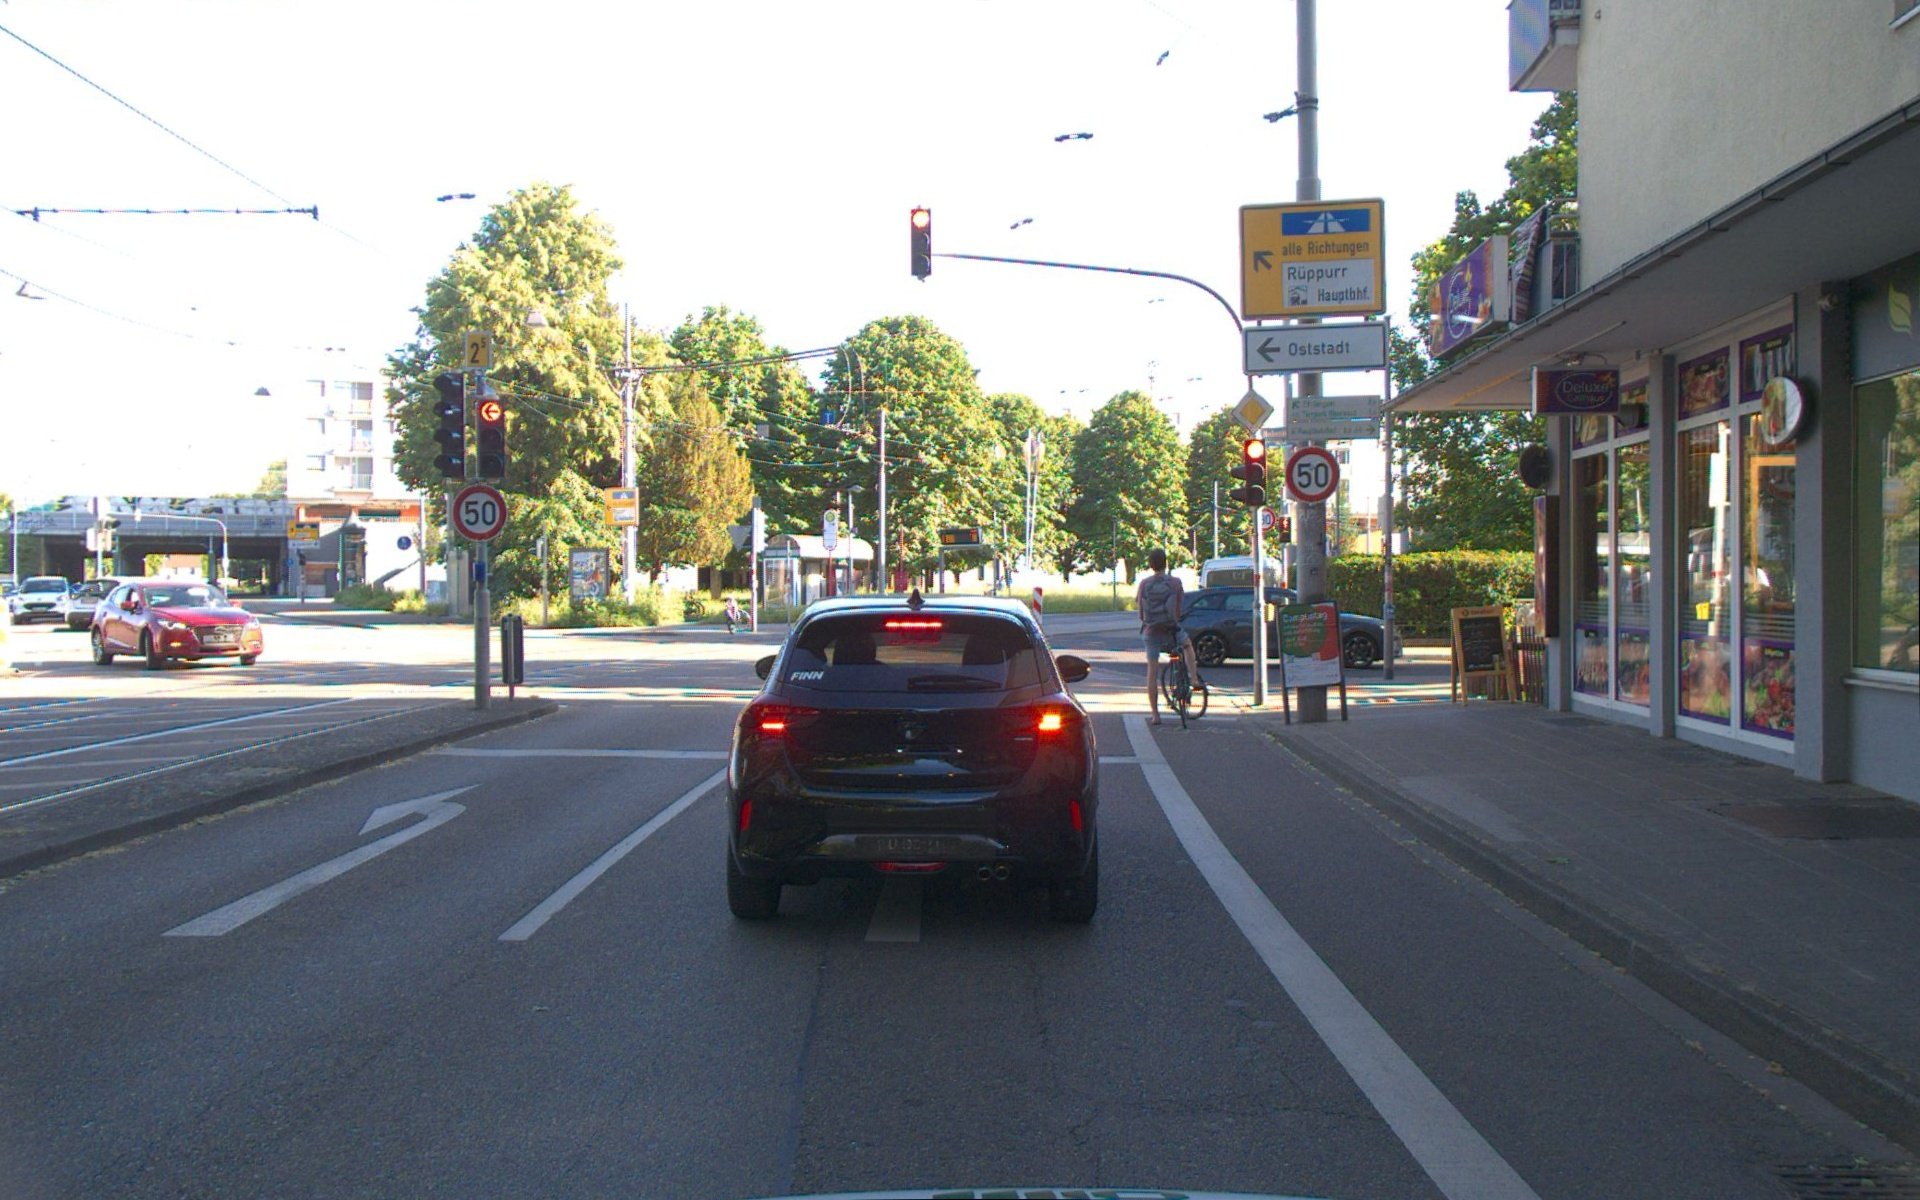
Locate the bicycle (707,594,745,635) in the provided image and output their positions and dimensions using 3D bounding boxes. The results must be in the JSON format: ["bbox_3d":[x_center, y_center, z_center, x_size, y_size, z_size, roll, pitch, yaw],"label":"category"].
[{"bbox_3d":[-6.502,0.385,46.067,0.780,1.083,2.184,0,1,-1],"label":"bicycle"}]

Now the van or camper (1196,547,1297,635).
[{"bbox_3d":[8.111,-0.224,46.523,1.987,2.351,4.540,1,0,20],"label":"van or camper"}]

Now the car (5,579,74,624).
[{"bbox_3d":[-34.365,0.064,61.802,1.860,1.613,3.809,1,0,-24],"label":"car"}]

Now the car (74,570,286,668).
[{"bbox_3d":[-13.736,0.284,28.998,4.416,1.592,2.008,1,1,45],"label":"car"}]

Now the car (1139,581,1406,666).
[{"bbox_3d":[5.623,0.401,30.266,4.626,1.499,1.941,0,0,4],"label":"car"}]

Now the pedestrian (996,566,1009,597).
[{"bbox_3d":[2.655,-1.172,103.991,0.599,1.904,0.513,1,-1,-36],"label":"pedestrian"}]

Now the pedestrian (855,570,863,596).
[{"bbox_3d":[-7.482,-1.264,122.529,0.592,1.904,0.519,1,-1,-7],"label":"pedestrian"}]

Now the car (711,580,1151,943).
[{"bbox_3d":[-0.145,0.646,8.789,1.803,1.487,3.983,0,1,-1],"label":"car"}]

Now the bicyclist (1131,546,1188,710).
[{"bbox_3d":[2.149,0.292,17.803,0.522,1.722,0.568,0,0,16],"label":"bicyclist"}]

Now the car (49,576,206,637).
[{"bbox_3d":[-23.101,0.187,46.095,1.949,1.579,4.199,1,0,5],"label":"car"}]

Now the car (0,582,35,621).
[{"bbox_3d":[-40.826,0.049,70.679,1.860,1.613,3.809,1,0,-24],"label":"car"}]

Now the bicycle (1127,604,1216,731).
[{"bbox_3d":[2.308,0.688,17.882,0.737,1.256,2.017,0,1,14],"label":"bicycle"}]
